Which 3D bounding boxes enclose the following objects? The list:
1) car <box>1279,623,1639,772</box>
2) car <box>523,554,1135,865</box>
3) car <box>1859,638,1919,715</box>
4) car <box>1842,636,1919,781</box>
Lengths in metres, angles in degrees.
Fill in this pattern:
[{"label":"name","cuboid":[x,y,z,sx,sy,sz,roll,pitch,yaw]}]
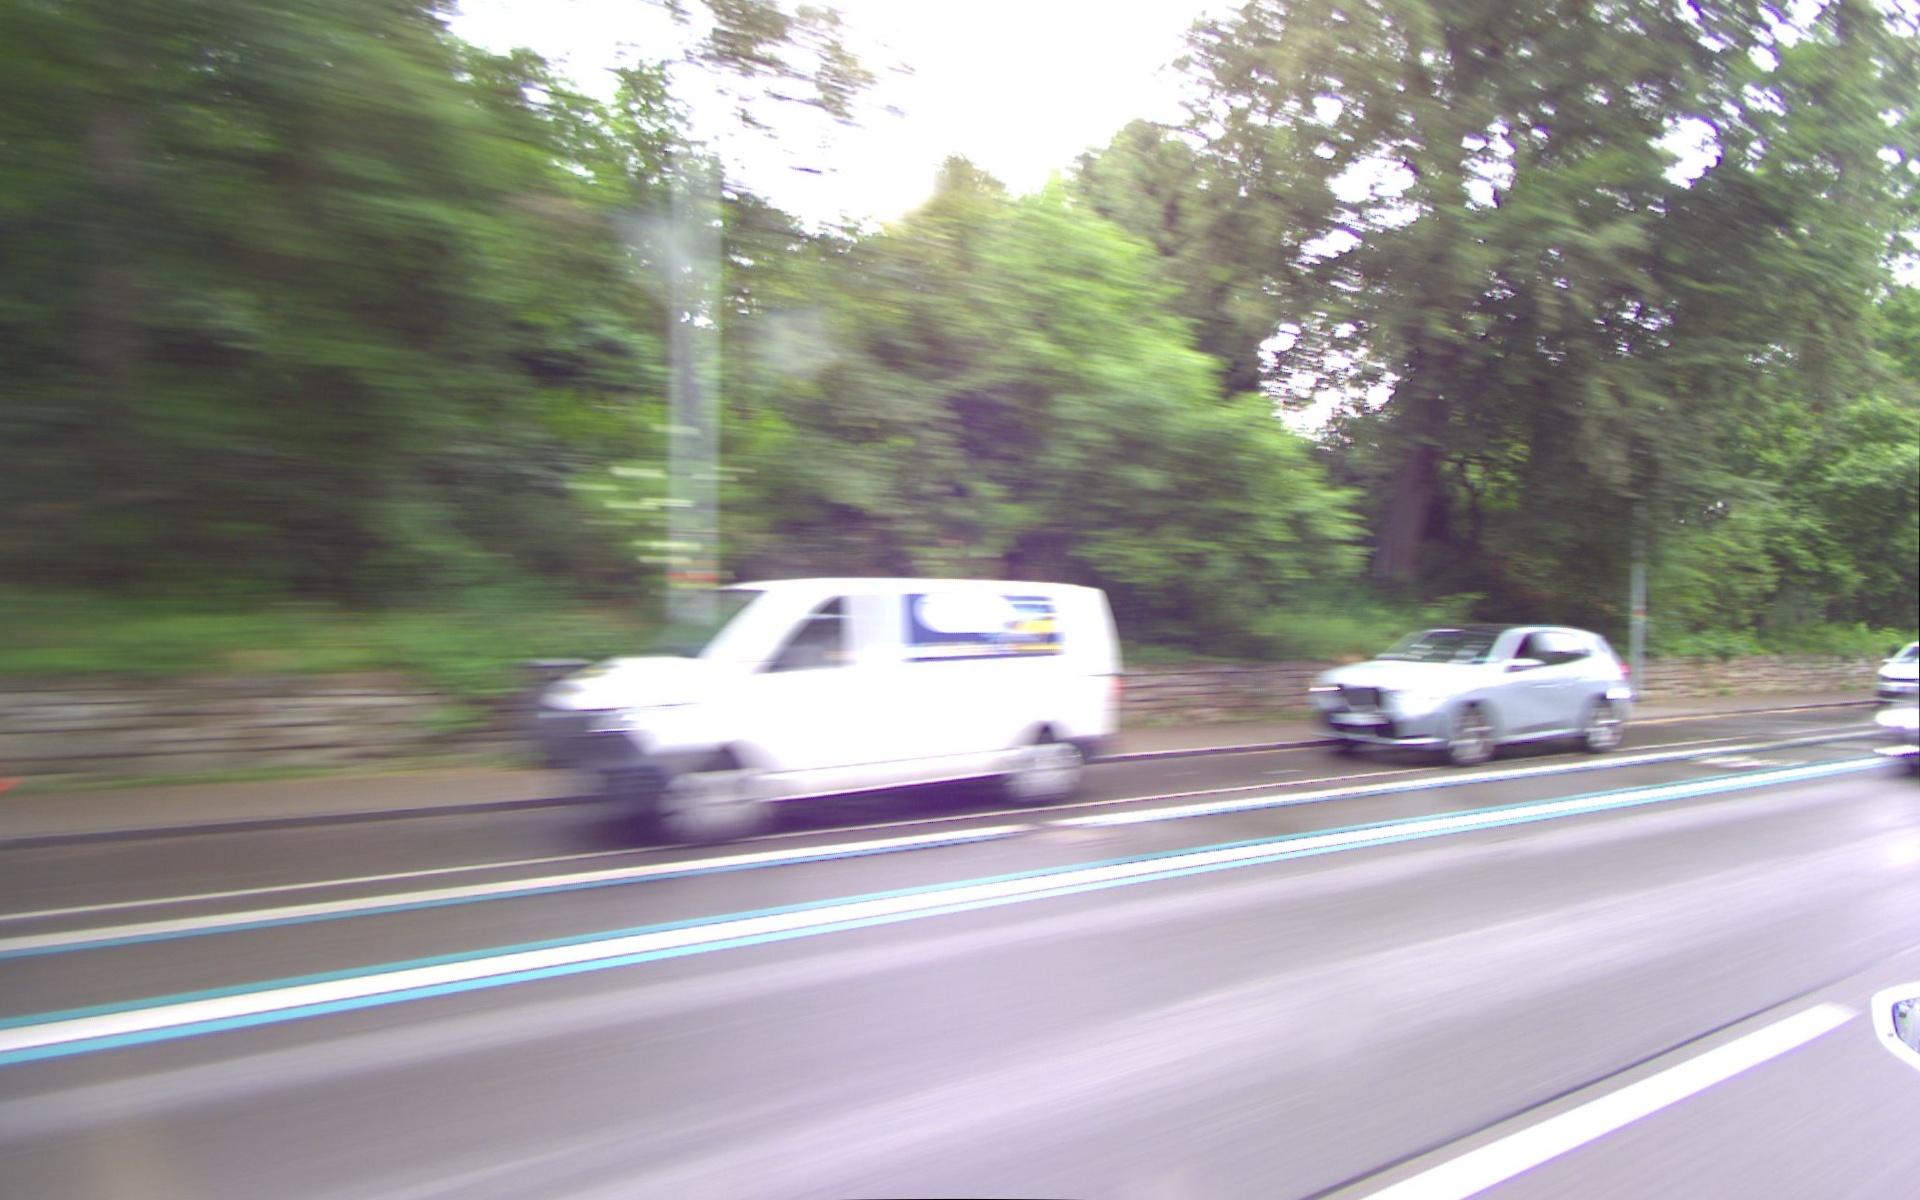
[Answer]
[{"label":"car","cuboid":[6.626,1.149,13.207,4.723,1.627,2.001,1,-1,-30]},{"label":"car","cuboid":[-0.962,0.743,8.787,4.967,2.032,1.961,1,0,-35]},{"label":"car","cuboid":[20.961,1.585,21.344,3.938,1.502,1.779,1,-1,-32]},{"label":"car","cuboid":[11.935,1.140,11.077,4.565,1.476,1.907,1,-3,-29]}]
